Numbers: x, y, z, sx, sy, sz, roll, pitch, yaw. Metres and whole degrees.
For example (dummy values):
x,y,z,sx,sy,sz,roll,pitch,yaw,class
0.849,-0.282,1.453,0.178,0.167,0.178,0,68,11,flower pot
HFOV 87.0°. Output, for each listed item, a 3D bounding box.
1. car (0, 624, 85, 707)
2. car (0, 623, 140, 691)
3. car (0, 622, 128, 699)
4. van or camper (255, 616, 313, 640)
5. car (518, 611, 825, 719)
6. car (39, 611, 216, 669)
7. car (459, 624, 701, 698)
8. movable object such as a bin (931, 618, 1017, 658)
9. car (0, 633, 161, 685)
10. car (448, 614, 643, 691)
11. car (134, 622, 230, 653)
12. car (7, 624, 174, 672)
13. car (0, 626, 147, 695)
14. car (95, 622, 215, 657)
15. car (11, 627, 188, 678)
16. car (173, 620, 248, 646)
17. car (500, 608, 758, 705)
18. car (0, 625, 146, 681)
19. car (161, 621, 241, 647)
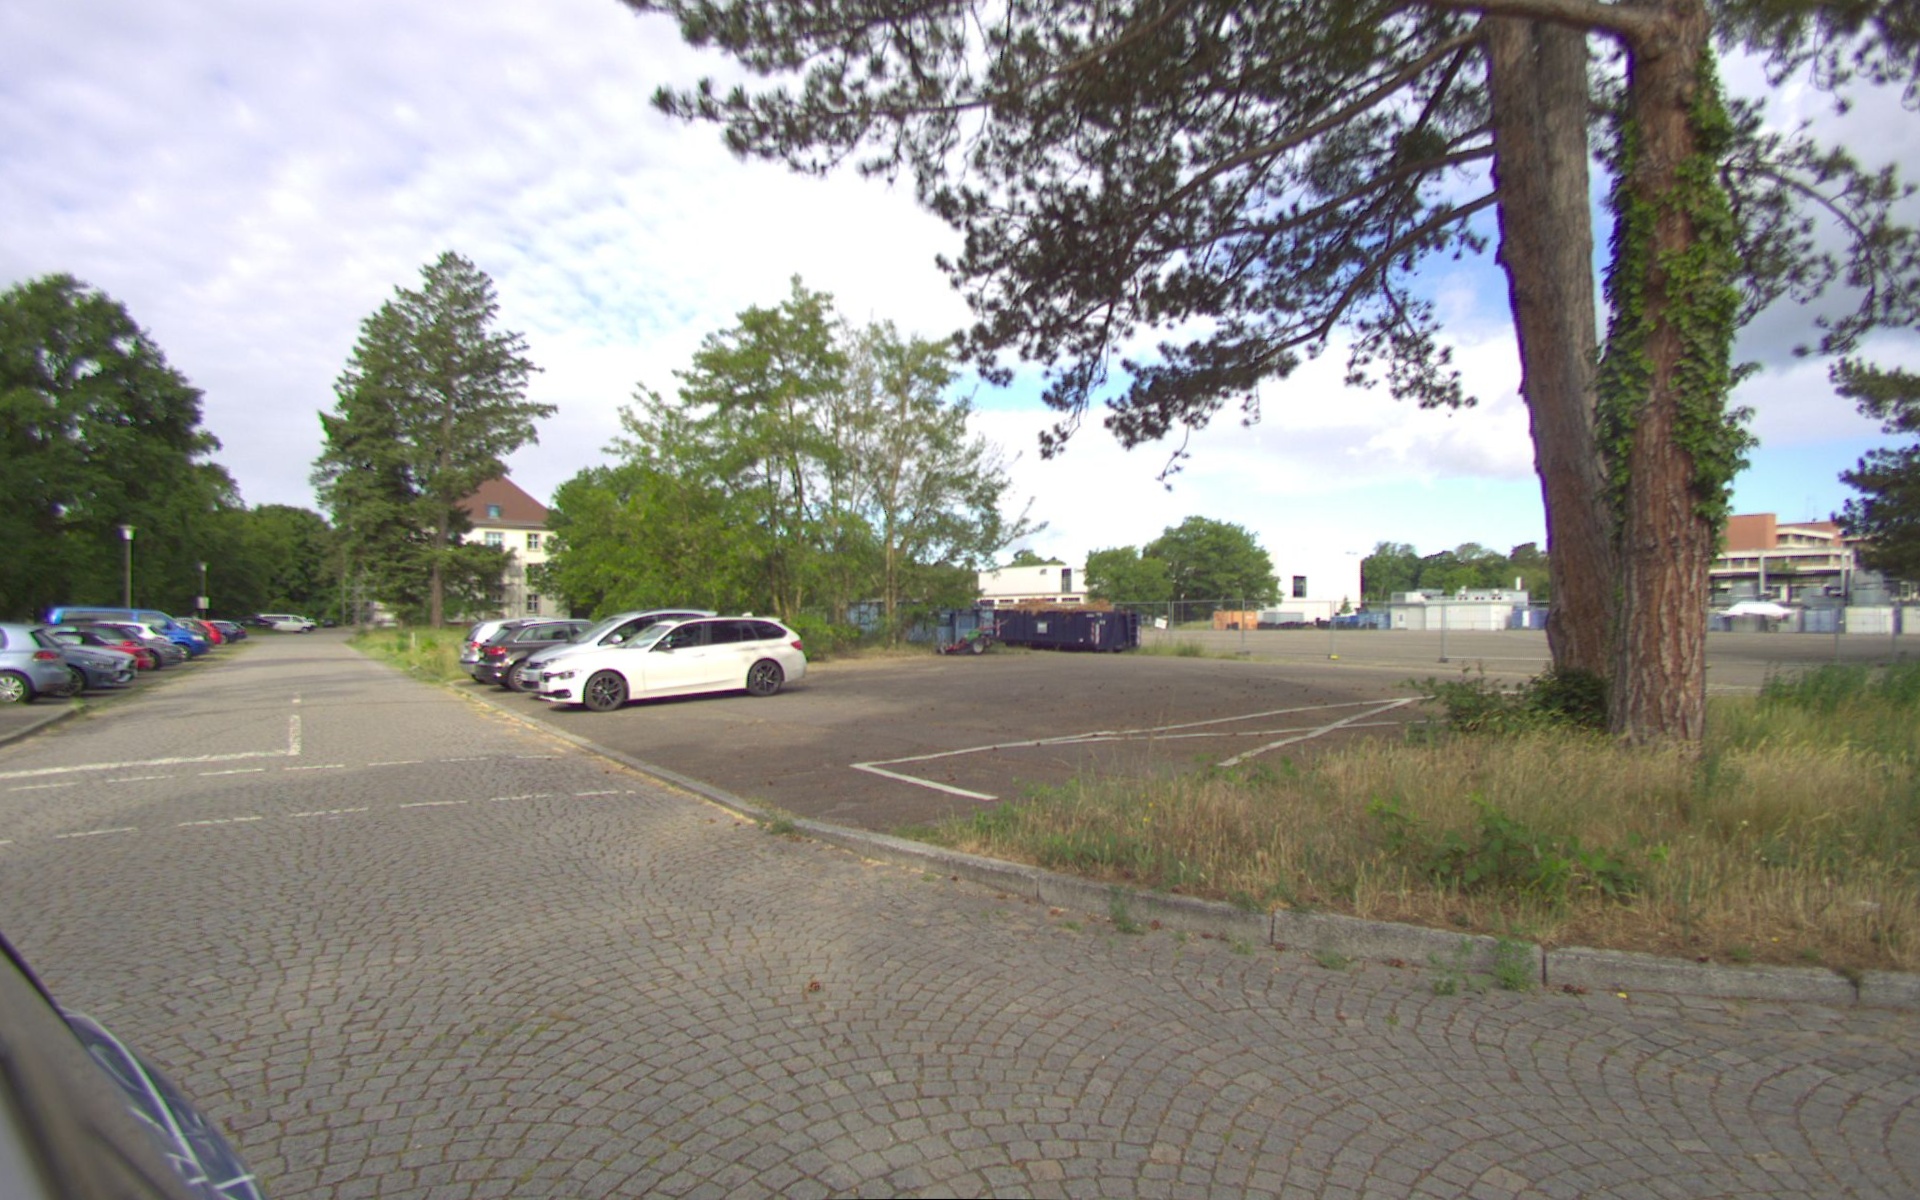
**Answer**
x,y,z,sx,sy,sz,roll,pitch,yaw,class
-17.945,1.129,17.546,3.932,1.429,1.802,1,-2,-32,car
-22.092,1.321,23.980,3.868,1.524,1.802,1,-2,-30,car
-19.326,1.165,19.752,4.555,1.456,1.802,1,-2,-33,car
-73.038,2.985,109.398,5.164,2.482,2.215,1,-1,-35,van or camper
-4.933,1.030,17.642,4.742,1.450,1.918,-3,0,-35,car
-30.728,1.457,37.587,4.761,2.029,2.006,1,-2,-29,car
-8.148,1.251,21.889,4.558,1.433,1.889,1,-2,-36,car
0.464,1.172,32.037,2.496,1.221,1.174,0,-1,-33,movable object such as a bin
-23.269,1.499,26.168,3.869,1.244,1.802,1,-2,-32,car
-9.787,1.175,24.020,3.923,1.467,1.684,-4,1,-37,car
-41.235,1.979,53.746,3.934,1.581,2.005,1,-2,-36,car
-28.191,1.530,32.982,3.869,1.460,1.802,1,-2,-32,car
-20.651,1.301,22.142,4.197,1.456,1.802,1,-2,-30,car
-35.708,1.733,45.030,3.931,1.516,1.875,1,-2,-30,car
-25.991,1.555,30.751,3.869,1.446,1.802,1,-2,-32,car
-49.063,2.158,66.349,3.729,1.637,2.006,1,-2,-31,car
-6.406,1.014,19.805,4.415,1.602,1.851,-1,0,-37,car
-25.205,1.433,28.061,3.869,1.487,1.802,1,-2,-32,car
-46.793,2.087,62.466,3.729,1.581,2.006,1,-2,-31,car
